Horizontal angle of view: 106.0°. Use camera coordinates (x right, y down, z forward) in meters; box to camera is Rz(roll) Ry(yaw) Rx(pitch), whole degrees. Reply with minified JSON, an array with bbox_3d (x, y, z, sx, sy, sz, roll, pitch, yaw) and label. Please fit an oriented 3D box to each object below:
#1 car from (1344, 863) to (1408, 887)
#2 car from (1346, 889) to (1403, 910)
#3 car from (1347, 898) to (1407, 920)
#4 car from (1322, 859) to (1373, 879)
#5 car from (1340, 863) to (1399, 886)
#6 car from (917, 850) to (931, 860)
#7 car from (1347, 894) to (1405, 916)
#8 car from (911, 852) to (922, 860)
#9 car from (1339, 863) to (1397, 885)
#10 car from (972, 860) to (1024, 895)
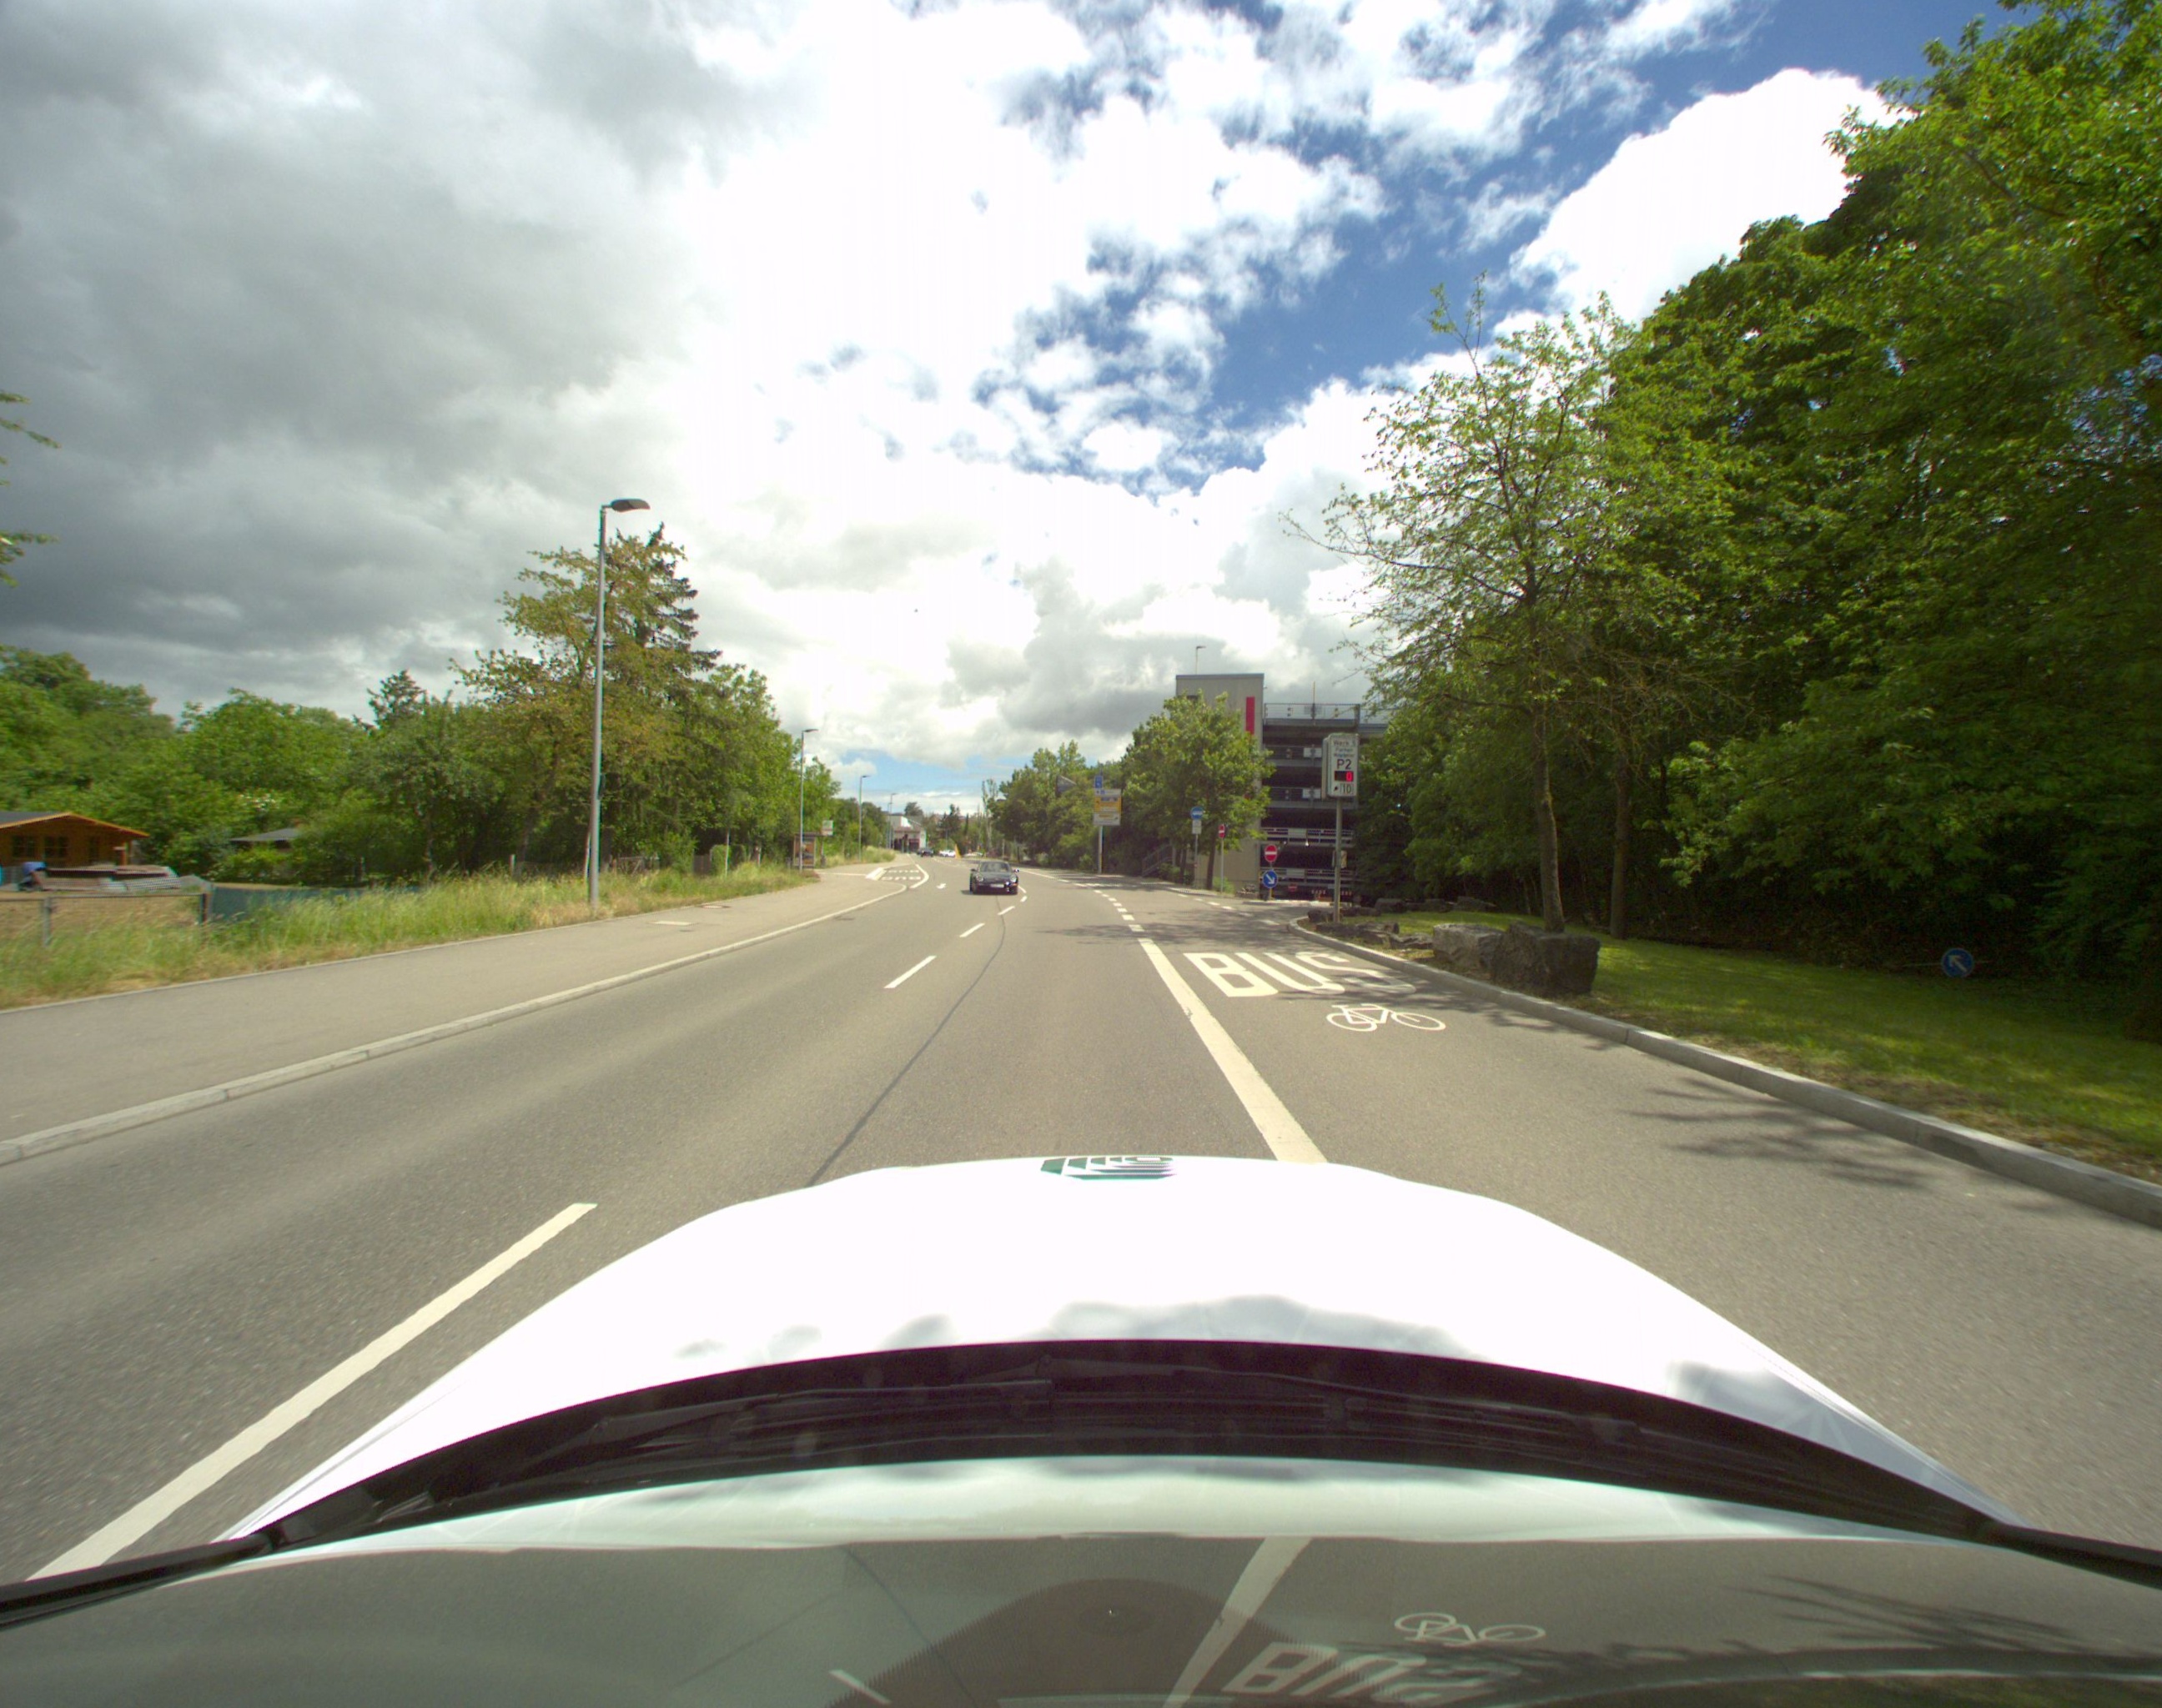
[{"bbox_3d":[21.548,1.514,59.674,4.281,1.630,2.008,1,0,16],"label":"car"},{"bbox_3d":[24.414,3.808,67.855,4.281,1.489,2.008,1,0,16],"label":"car"},{"bbox_3d":[22.996,4.261,63.434,4.281,1.418,2.008,1,0,16],"label":"car"},{"bbox_3d":[23.902,1.346,73.123,4.281,1.630,2.008,1,0,16],"label":"car"},{"bbox_3d":[22.709,1.576,64.224,4.281,1.630,2.008,1,0,16],"label":"car"},{"bbox_3d":[-25.054,0.119,130.142,1.826,1.557,4.605,0,0,-15],"label":"car"},{"bbox_3d":[23.682,4.121,65.514,4.281,1.489,2.008,1,0,16],"label":"car"},{"bbox_3d":[-30.416,0.331,150.601,1.769,1.442,4.354,1,0,-15],"label":"car"},{"bbox_3d":[23.289,1.613,66.219,4.281,1.630,2.008,1,0,16],"label":"car"},{"bbox_3d":[-3.249,0.909,32.608,1.729,1.301,4.002,0,-1,-1],"label":"car"}]
